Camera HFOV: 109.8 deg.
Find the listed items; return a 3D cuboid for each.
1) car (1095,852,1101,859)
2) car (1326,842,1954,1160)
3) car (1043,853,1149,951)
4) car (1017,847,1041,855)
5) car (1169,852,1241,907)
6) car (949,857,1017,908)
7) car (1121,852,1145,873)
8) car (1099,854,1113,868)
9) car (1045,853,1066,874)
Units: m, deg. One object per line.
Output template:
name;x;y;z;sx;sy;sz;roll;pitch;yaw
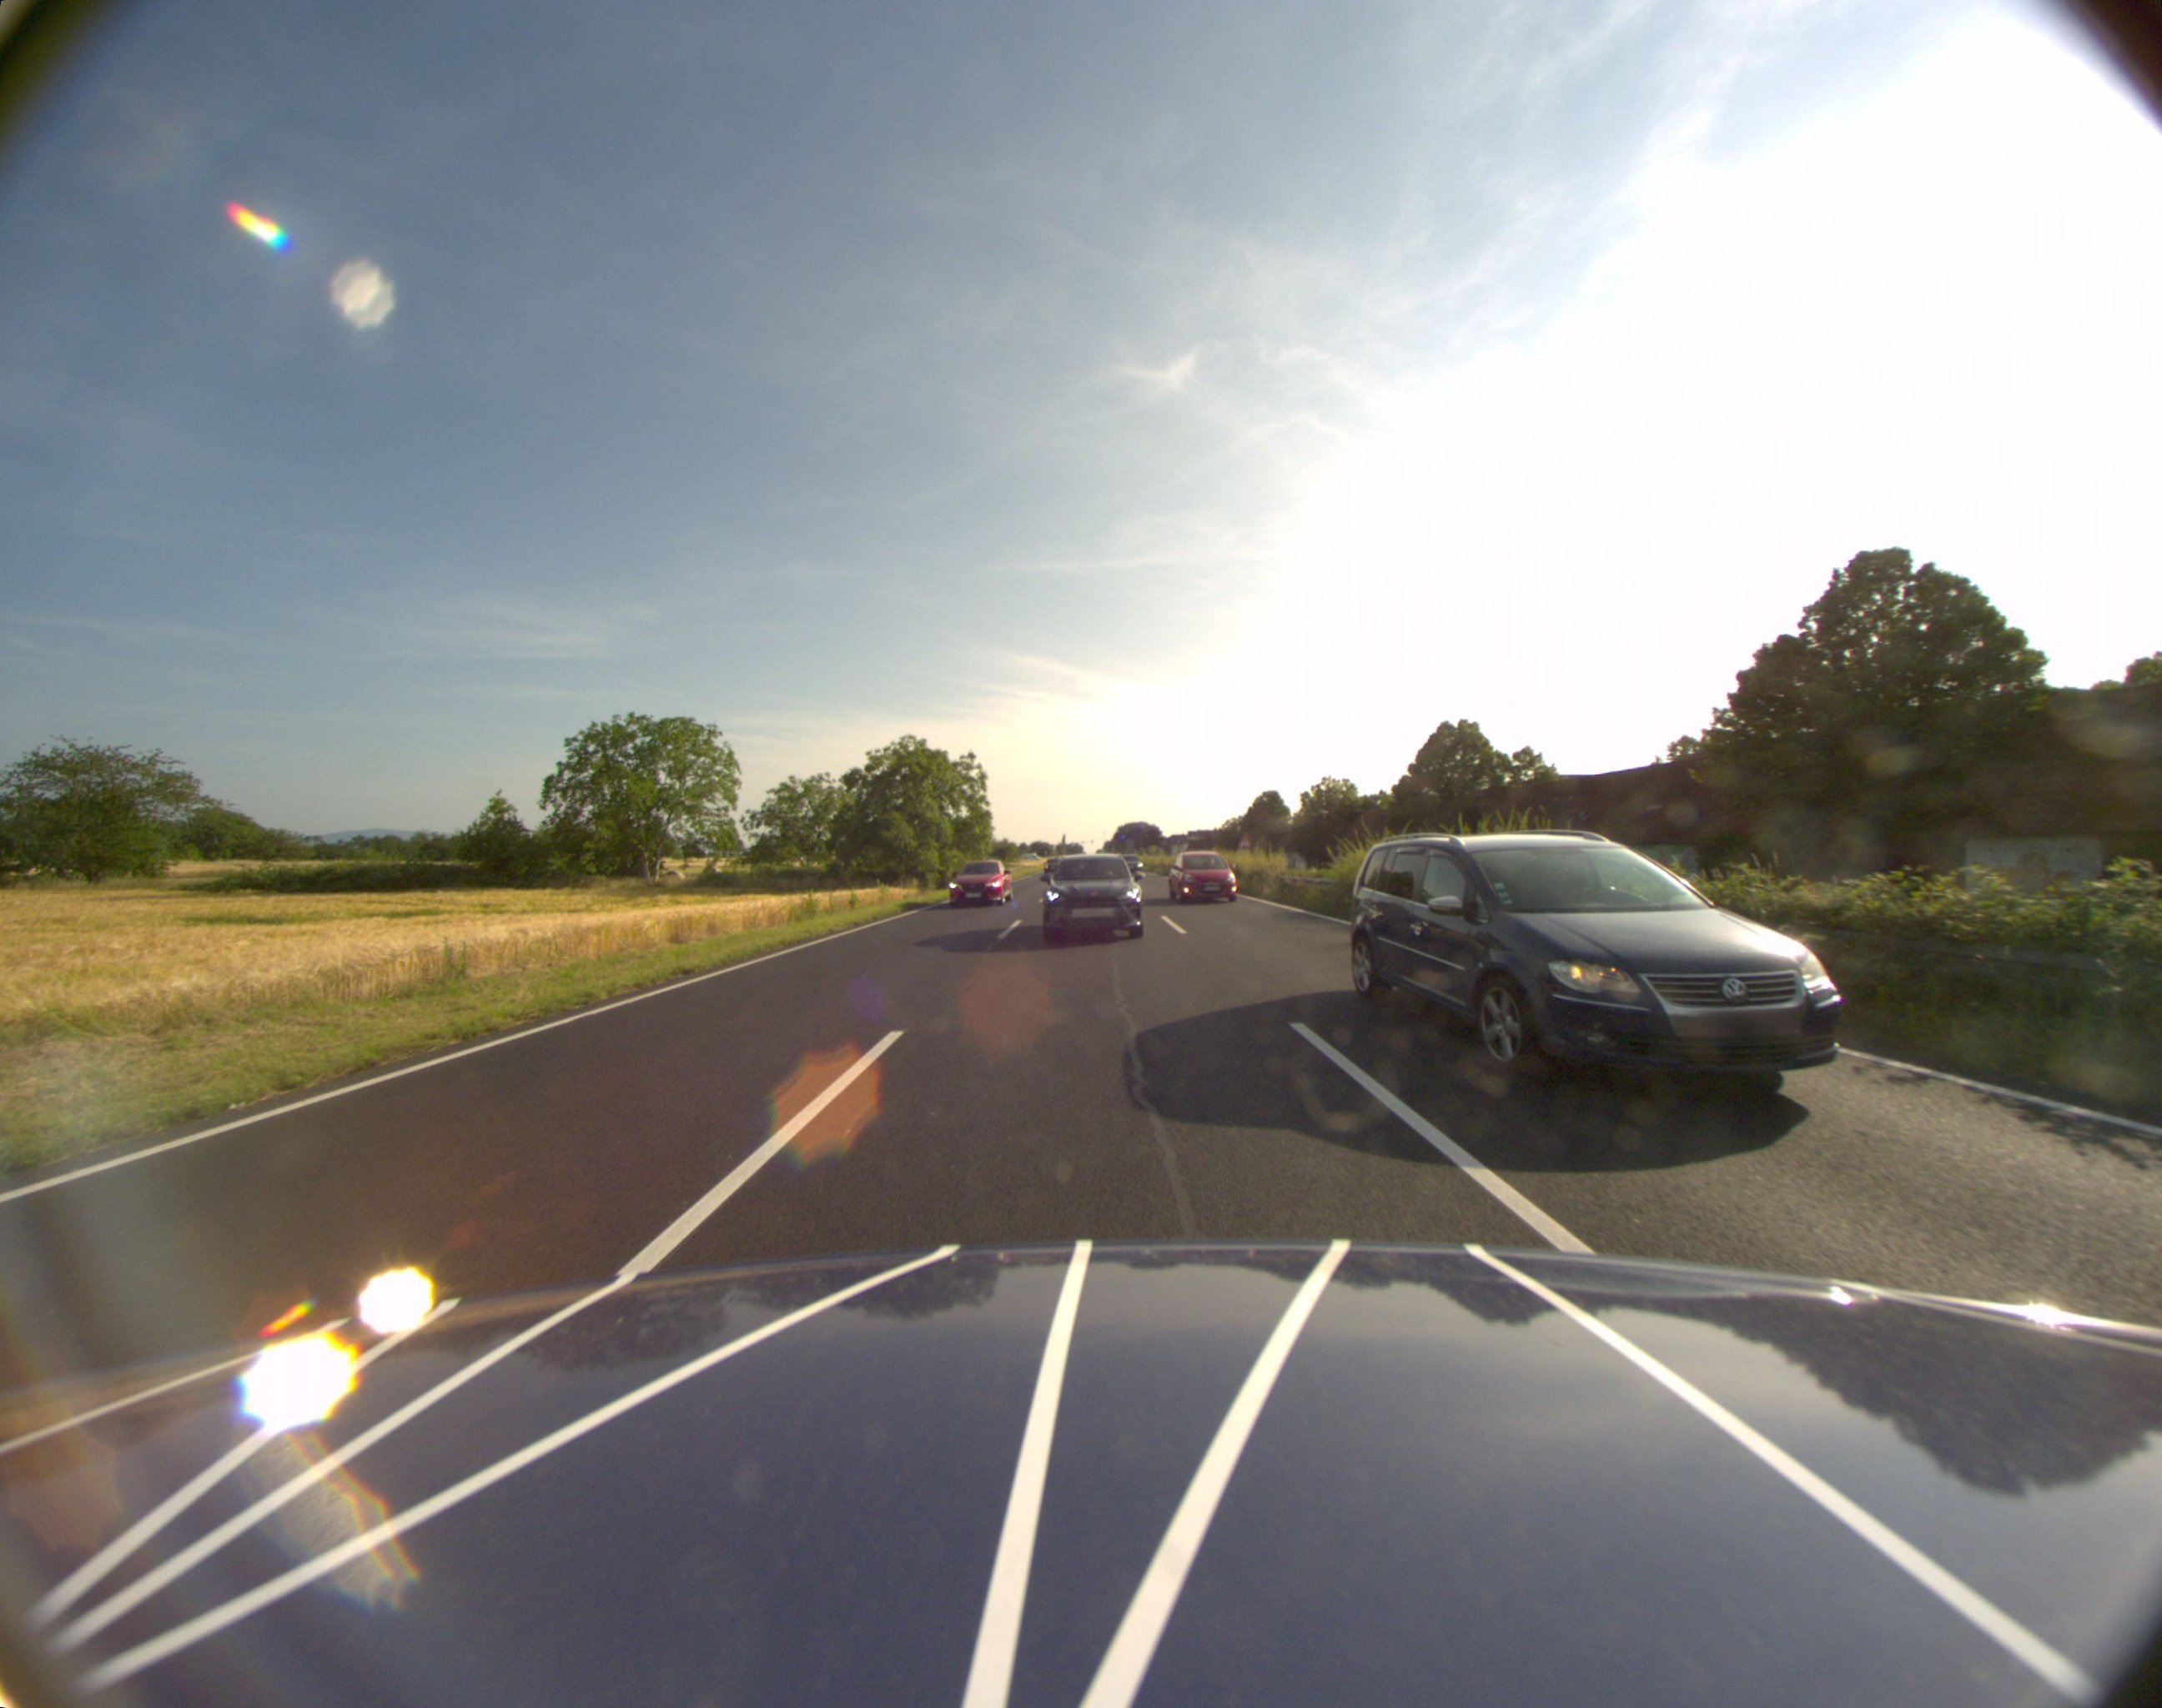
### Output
car;5.375;0.501;239.459;1.998;2.002;3.999;-2;1;1
car;3.619;0.726;6.239;1.777;1.612;4.681;-1;1;1
car;0.297;0.830;15.404;1.791;1.594;4.339;-2;1;1
car;-16.976;-0.889;247.954;7.202;2.654;2.094;0;2;14
car;3.994;0.769;25.064;1.748;1.537;3.999;-2;1;1
car;-3.318;0.933;26.562;1.708;1.497;4.500;-2;1;0
car;4.176;0.641;61.841;1.719;1.521;3.999;-2;1;1
car;3.752;1.059;115.366;1.918;1.871;3.999;-2;1;1
car;-2.523;0.921;76.140;1.999;2.002;3.998;-2;1;-2
